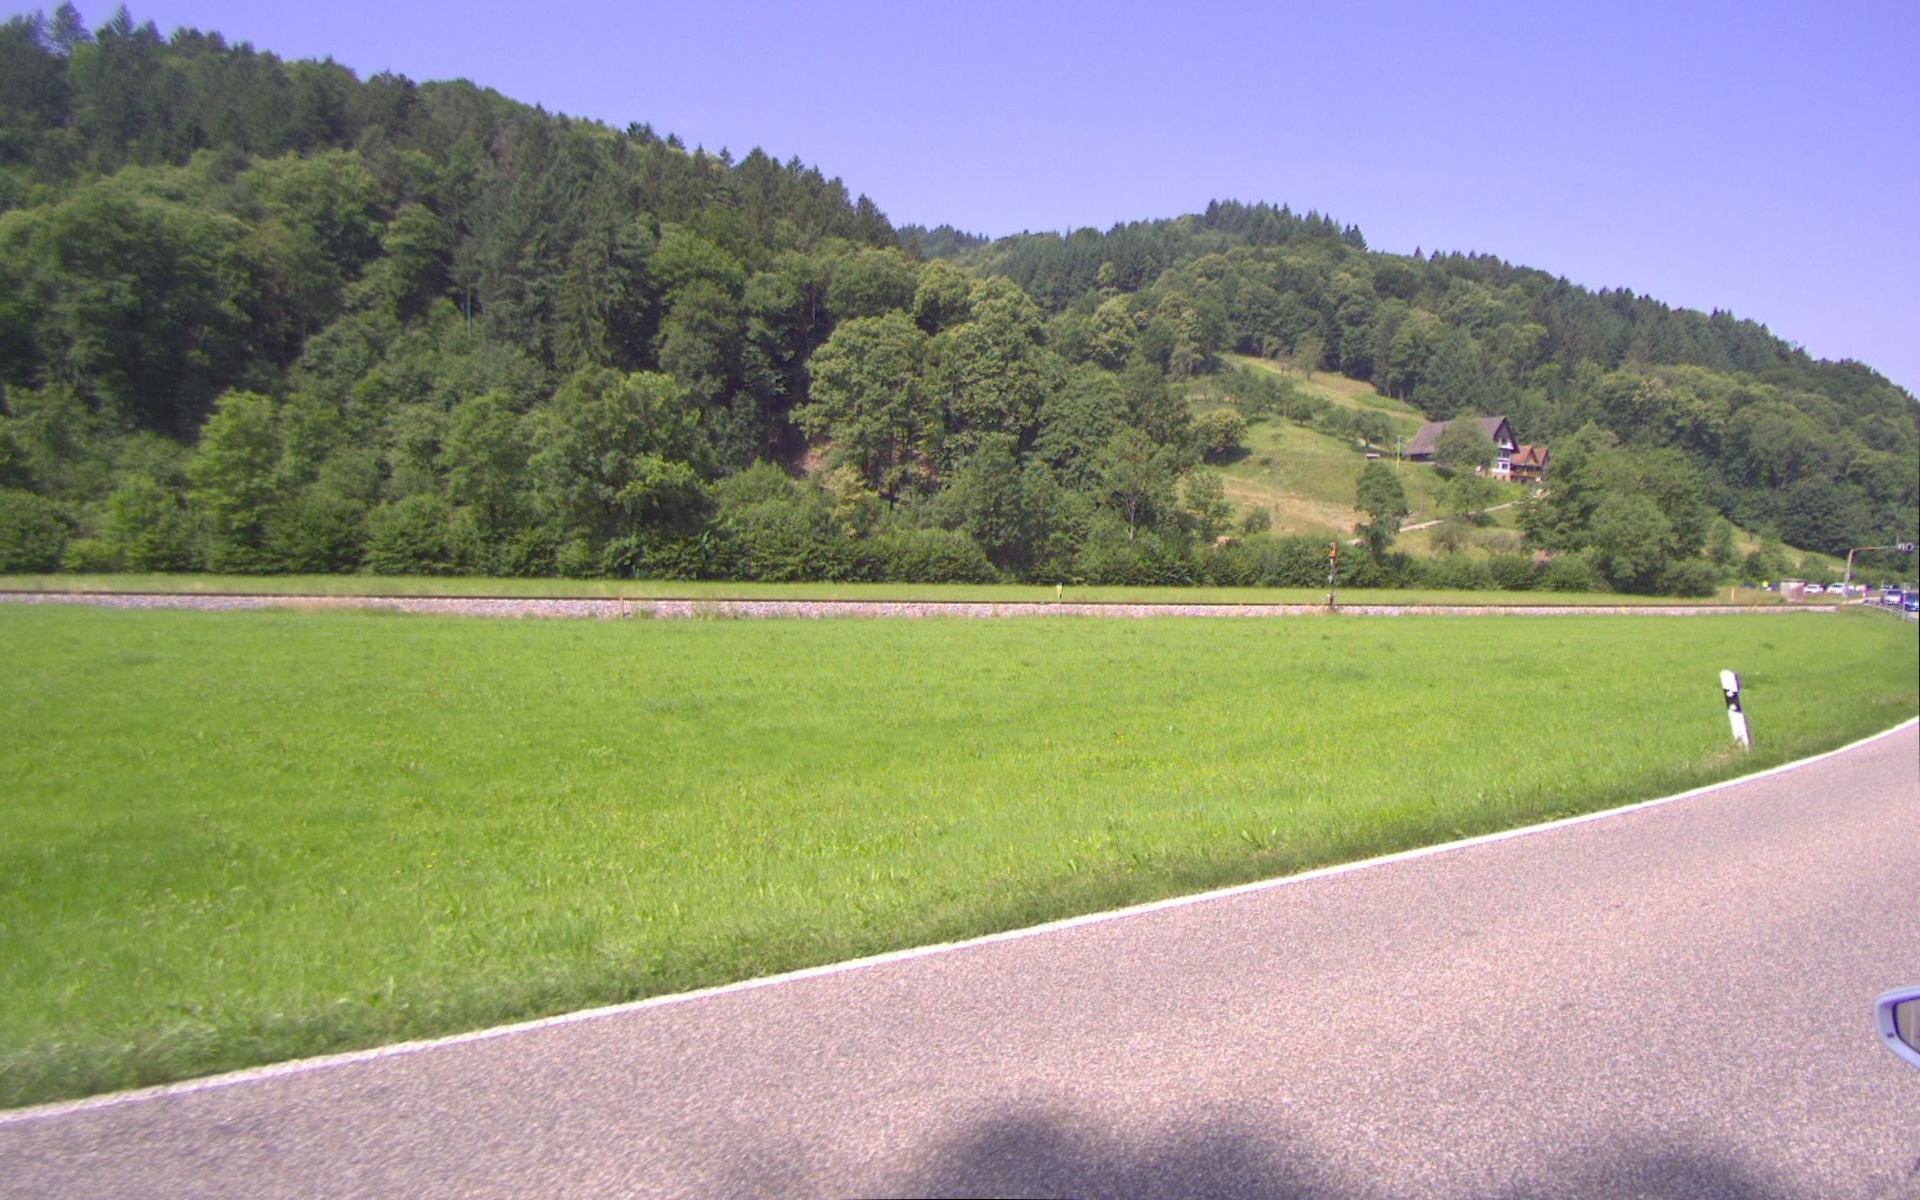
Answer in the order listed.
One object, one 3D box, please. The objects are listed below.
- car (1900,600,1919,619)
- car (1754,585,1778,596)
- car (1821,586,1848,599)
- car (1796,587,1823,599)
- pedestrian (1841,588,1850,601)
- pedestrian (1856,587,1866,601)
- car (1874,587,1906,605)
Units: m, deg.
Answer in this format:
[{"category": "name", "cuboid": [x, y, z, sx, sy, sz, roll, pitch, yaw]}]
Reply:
[{"category": "car", "cuboid": [83.852, 0.813, 88.195, 1.845, 1.645, 4.484, 0, 1, 43]}, {"category": "car", "cuboid": [123.239, -1.465, 153.542, 4.483, 1.521, 1.977, 0, 4, -39]}, {"category": "car", "cuboid": [128.500, -1.051, 147.573, 4.722, 1.806, 1.859, 0, 3, -34]}, {"category": "car", "cuboid": [126.413, -1.082, 149.502, 4.856, 1.663, 1.979, 0, 2, -37]}, {"category": "pedestrian", "cuboid": [124.076, -0.806, 140.758, 0.690, 1.867, 0.784, -1, 2, -28]}, {"category": "pedestrian", "cuboid": [125.994, -0.843, 140.486, 0.756, 1.884, 0.649, 0, 1, -3]}, {"category": "car", "cuboid": [91.873, -0.410, 99.283, 1.891, 1.737, 4.143, 2, 2, 37]}]
